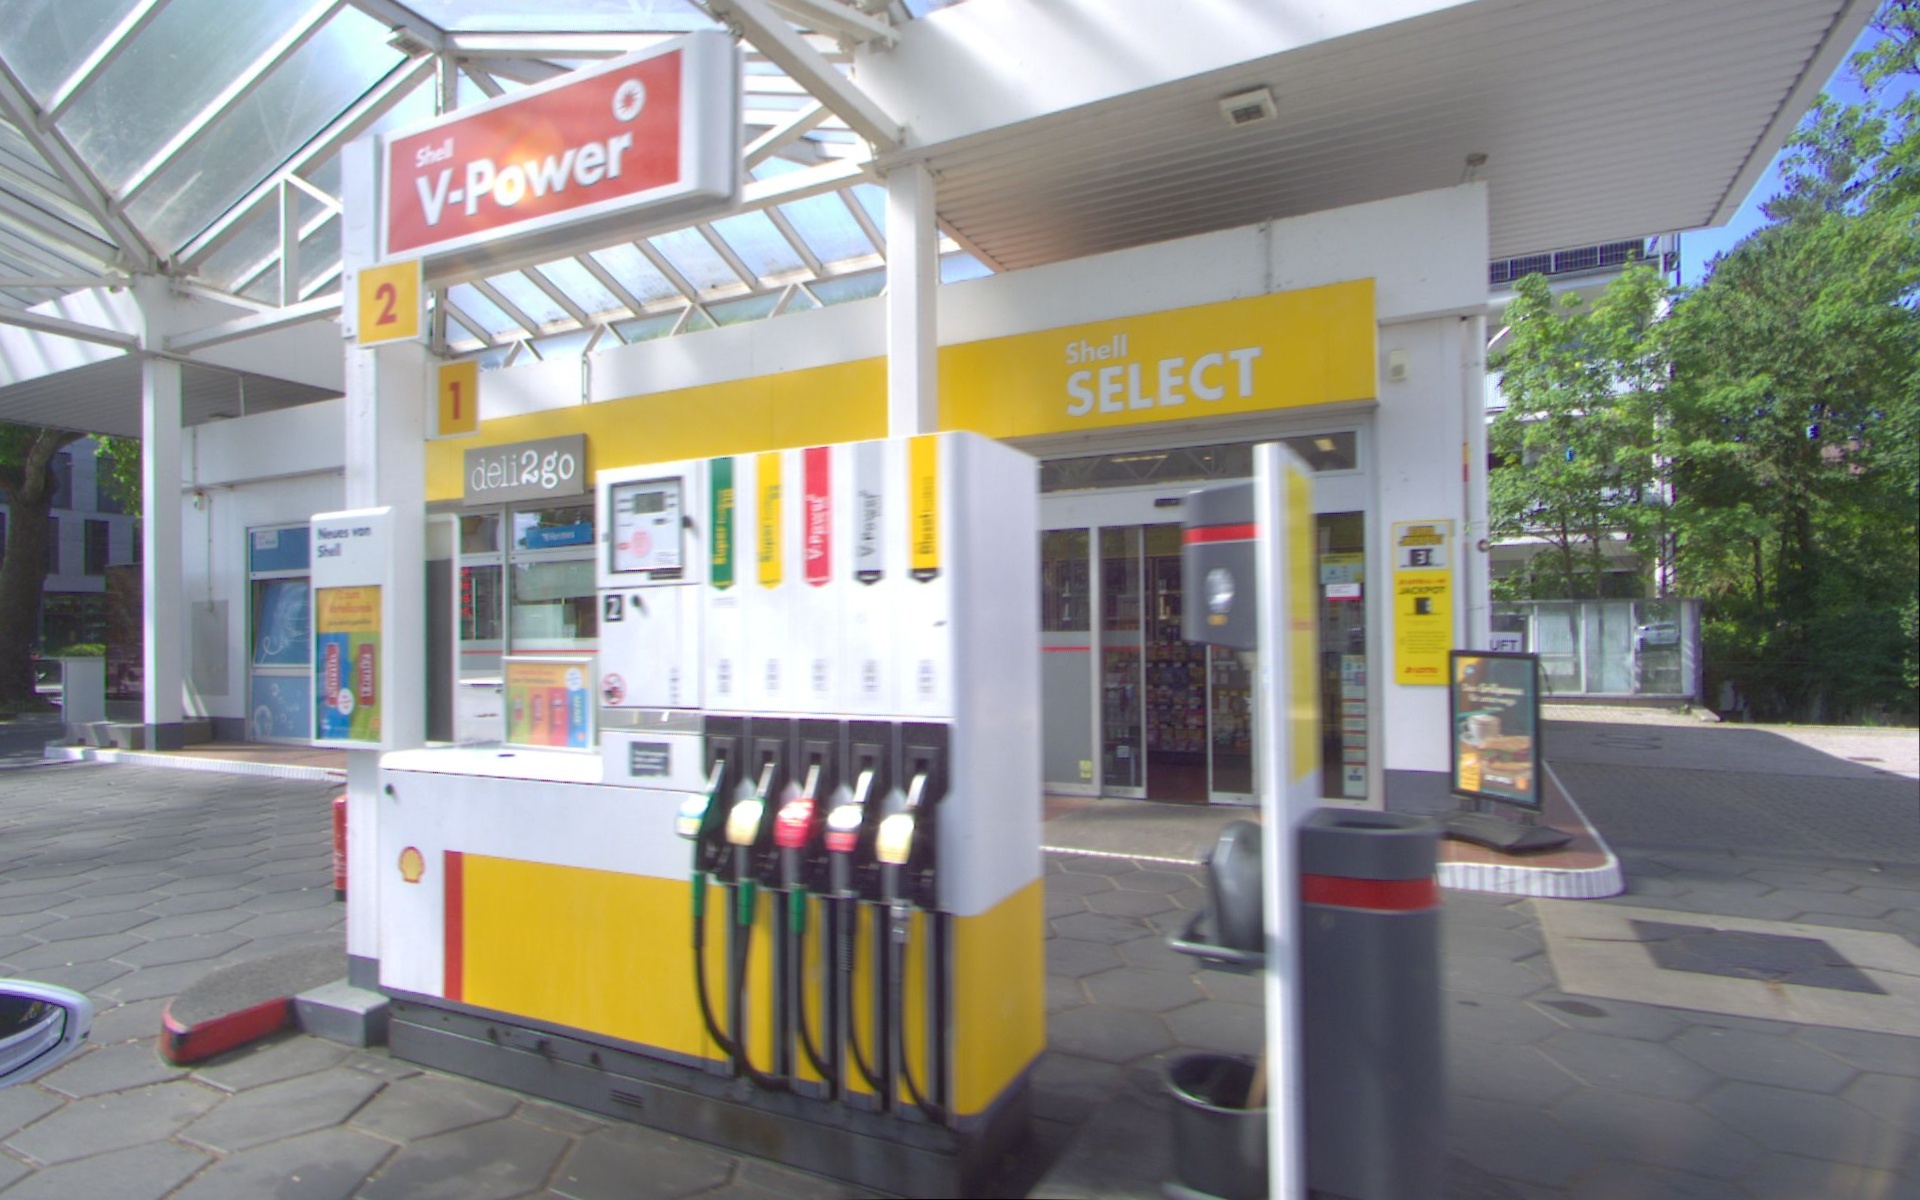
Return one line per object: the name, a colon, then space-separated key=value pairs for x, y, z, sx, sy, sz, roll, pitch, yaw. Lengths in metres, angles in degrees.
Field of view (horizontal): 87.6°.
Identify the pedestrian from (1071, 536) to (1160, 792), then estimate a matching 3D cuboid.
pedestrian: x=1.323 y=0.530 z=8.429 sx=0.612 sy=2.039 sz=0.741 roll=-1 pitch=-1 yaw=18
